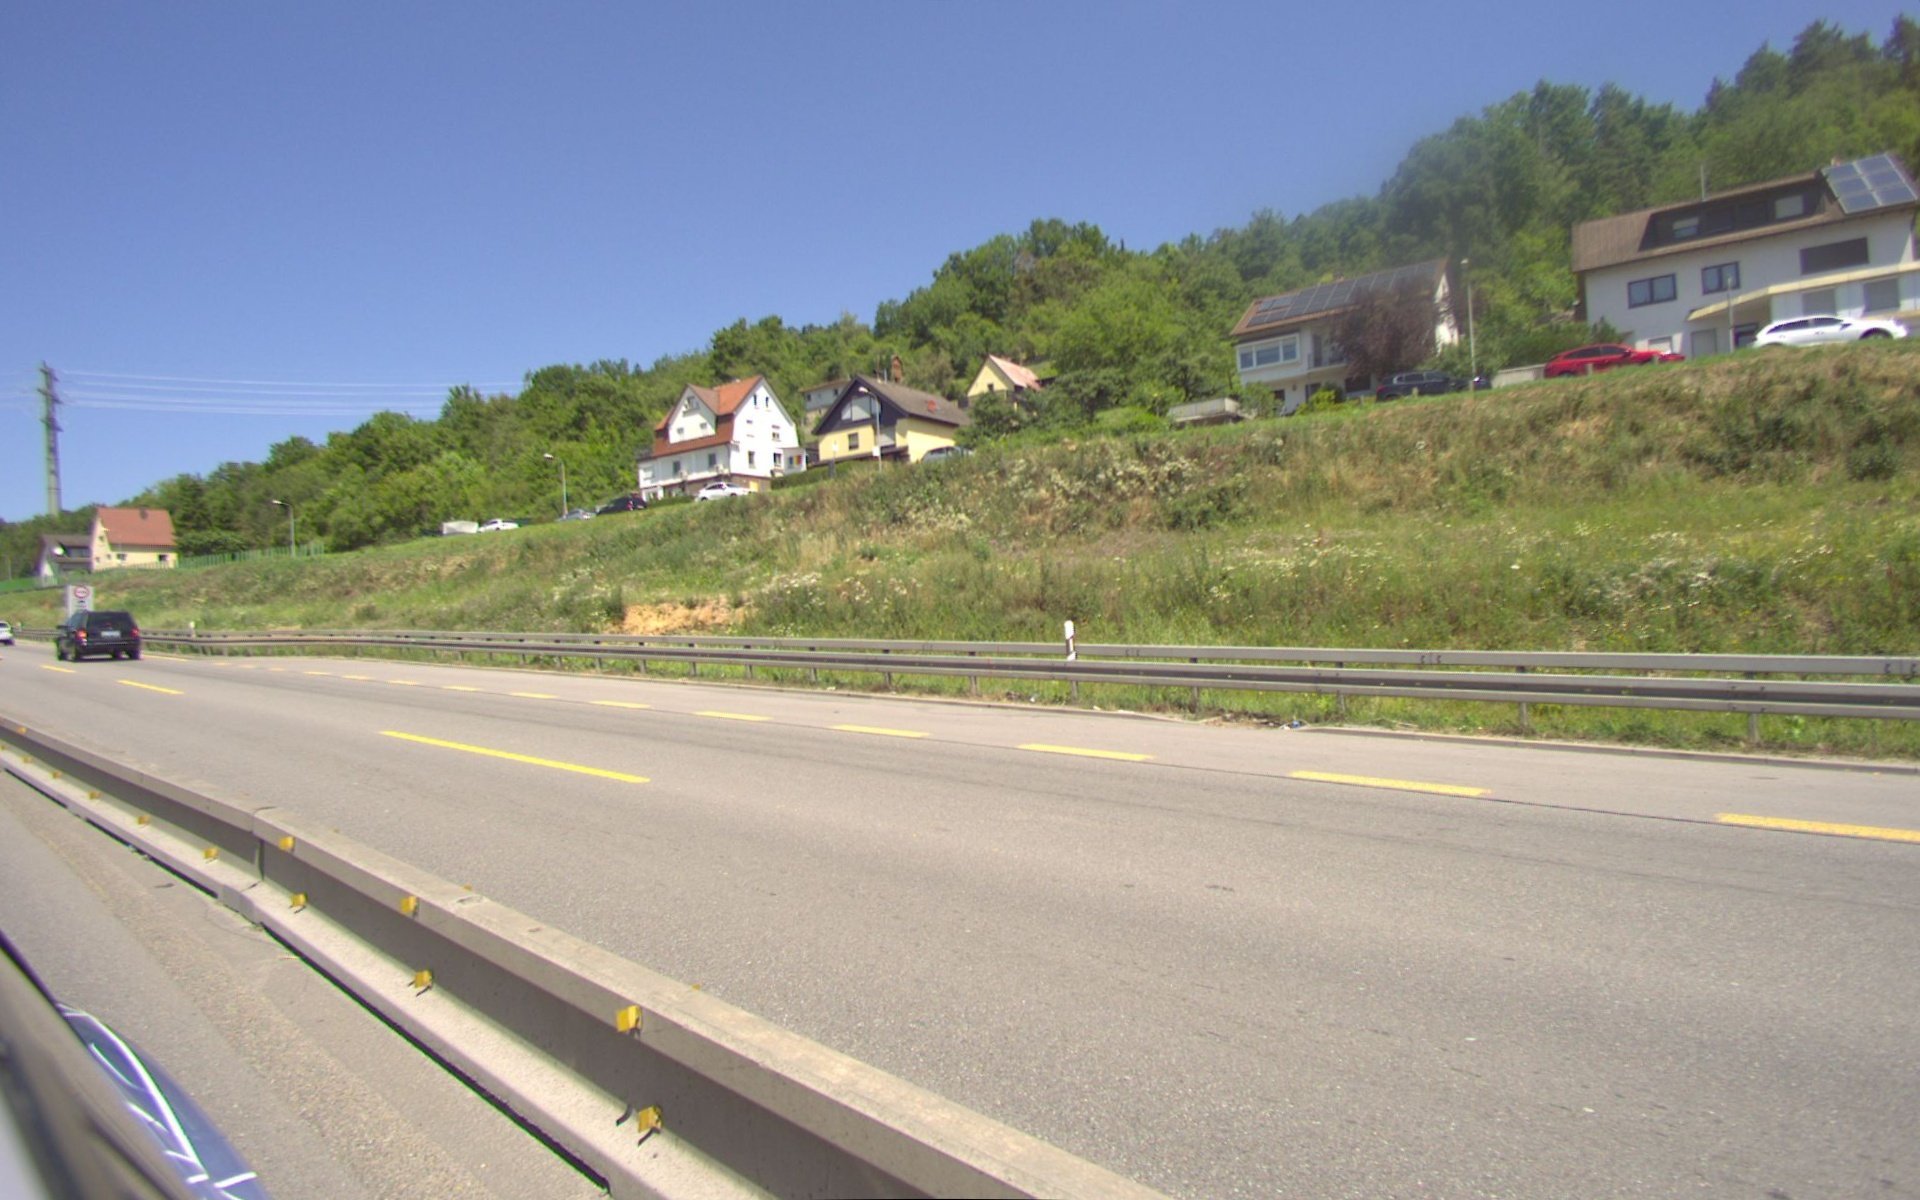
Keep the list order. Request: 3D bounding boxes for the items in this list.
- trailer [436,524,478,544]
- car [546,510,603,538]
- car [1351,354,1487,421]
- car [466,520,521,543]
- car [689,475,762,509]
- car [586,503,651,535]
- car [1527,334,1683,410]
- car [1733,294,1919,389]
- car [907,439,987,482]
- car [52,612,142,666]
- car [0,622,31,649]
[{"bbox_3d":[-42.701,-5.590,85.971,3.026,1.527,1.888,0,0,31],"label":"trailer"},{"bbox_3d":[-29.468,-5.782,77.383,4.422,1.886,1.976,0,1,36],"label":"car"},{"bbox_3d":[18.585,-8.539,41.021,4.752,1.807,2.160,0,1,35],"label":"car"},{"bbox_3d":[-38.303,-5.592,83.136,4.538,1.668,1.978,0,0,32],"label":"car"},{"bbox_3d":[-15.692,-7.170,67.601,5.000,1.807,1.977,0,1,35],"label":"car"},{"bbox_3d":[-25.188,-5.914,74.559,4.964,2.023,2.052,0,1,36],"label":"car"},{"bbox_3d":[24.367,-8.545,38.297,4.795,1.807,2.325,0,1,38],"label":"car"},{"bbox_3d":[29.350,-8.703,34.456,4.812,2.056,2.325,0,1,39],"label":"car"},{"bbox_3d":[-0.711,-7.620,55.589,3.990,1.807,1.977,0,1,35],"label":"car"},{"bbox_3d":[-30.610,1.336,35.851,4.495,1.779,1.809,-1,-1,41],"label":"car"},{"bbox_3d":[-56.679,2.089,60.001,4.596,1.508,1.785,-1,-1,41],"label":"car"}]
